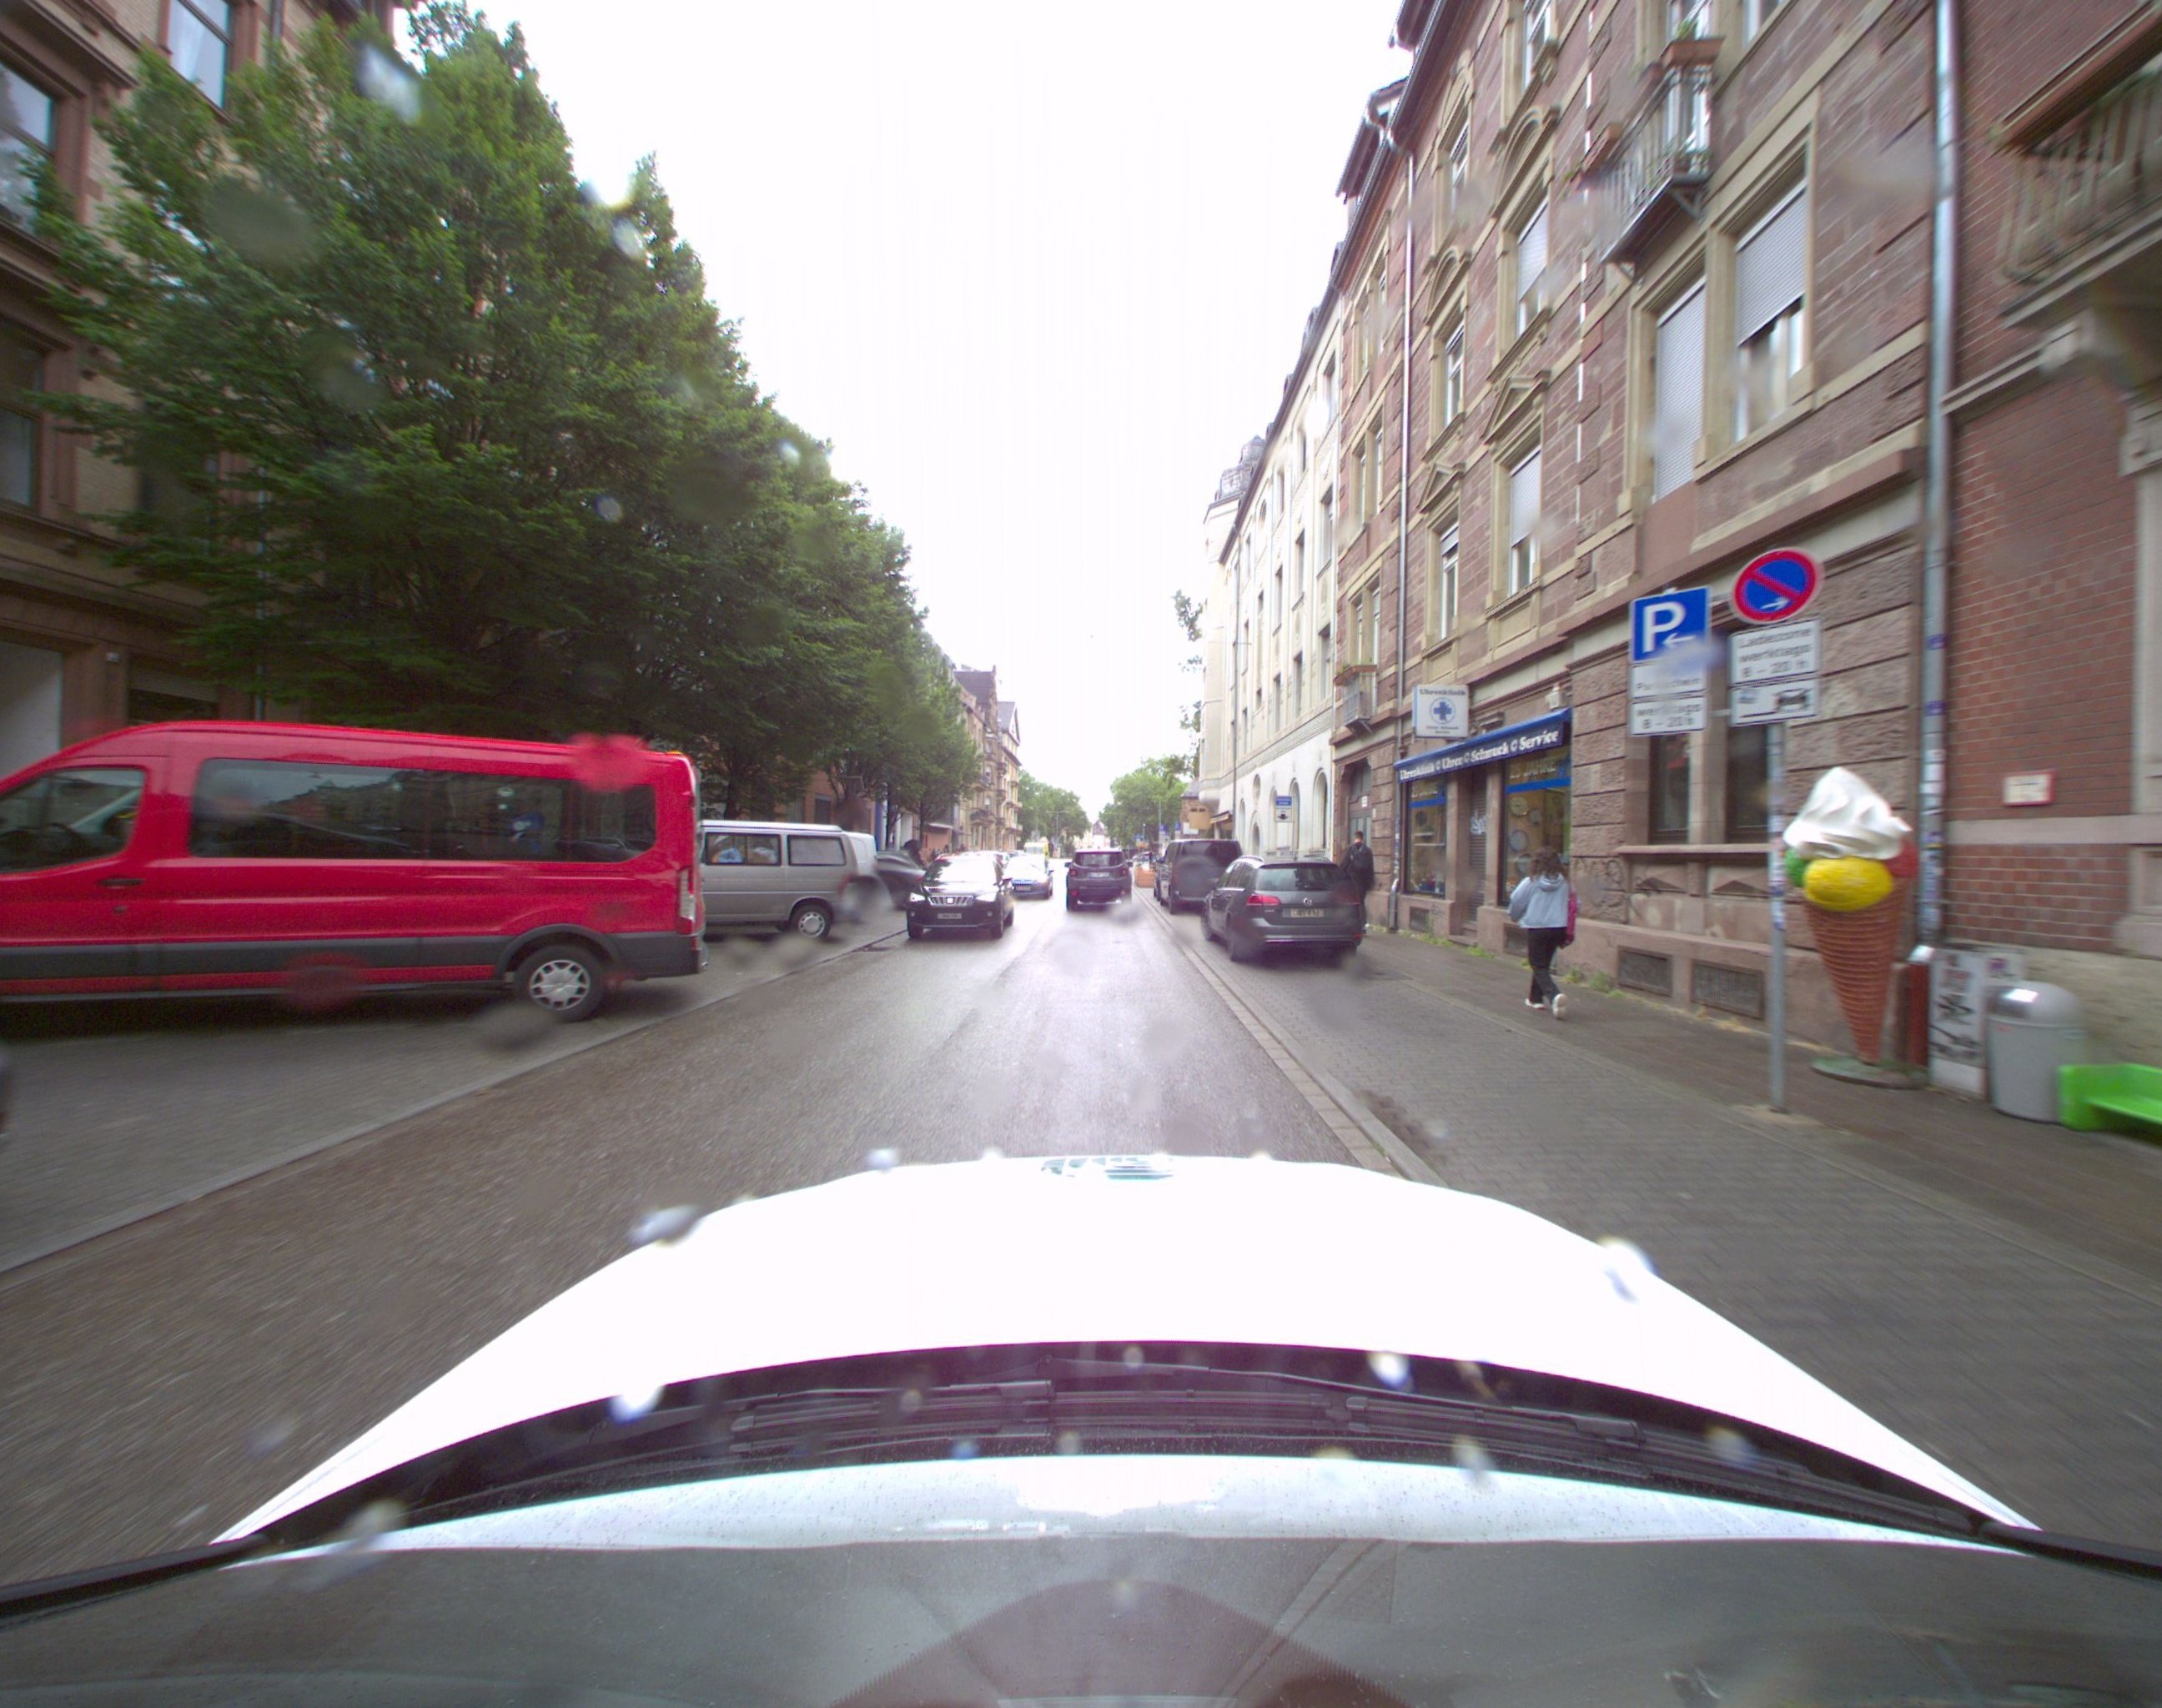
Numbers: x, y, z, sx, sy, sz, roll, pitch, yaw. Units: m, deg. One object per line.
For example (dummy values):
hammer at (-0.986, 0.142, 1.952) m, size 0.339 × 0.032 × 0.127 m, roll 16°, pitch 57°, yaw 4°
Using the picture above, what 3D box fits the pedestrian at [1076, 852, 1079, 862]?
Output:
pedestrian at (-0.526, 0.420, 123.223) m, size 0.466 × 1.585 × 0.752 m, roll 0°, pitch 0°, yaw 0°

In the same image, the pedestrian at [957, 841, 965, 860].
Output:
pedestrian at (-11.229, -0.356, 76.186) m, size 0.663 × 1.757 × 0.791 m, roll 0°, pitch 0°, yaw -22°

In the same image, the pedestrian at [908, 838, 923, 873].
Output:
pedestrian at (-8.198, 0.076, 40.264) m, size 0.609 × 1.707 × 0.433 m, roll 1°, pitch -2°, yaw 2°

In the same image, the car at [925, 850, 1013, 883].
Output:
car at (-5.213, 0.540, 38.011) m, size 3.729 × 1.452 × 1.668 m, roll 0°, pitch 0°, yaw -34°

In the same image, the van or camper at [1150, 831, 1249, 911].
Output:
van or camper at (3.026, 0.389, 21.844) m, size 2.014 × 1.891 × 5.056 m, roll 0°, pitch 0°, yaw 1°

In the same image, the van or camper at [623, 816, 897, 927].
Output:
van or camper at (-6.527, 0.350, 16.853) m, size 4.721 × 1.953 × 2.310 m, roll 2°, pitch 1°, yaw -40°

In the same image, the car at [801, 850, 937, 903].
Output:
car at (-6.183, 0.611, 23.909) m, size 3.499 × 1.435 × 1.632 m, roll 0°, pitch 0°, yaw -41°

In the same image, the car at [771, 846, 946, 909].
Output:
car at (-5.732, 0.622, 21.210) m, size 3.998 × 1.447 × 1.747 m, roll 2°, pitch 0°, yaw -39°

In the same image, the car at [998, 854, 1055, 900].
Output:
car at (-1.838, 0.747, 28.404) m, size 1.664 × 1.465 × 4.003 m, roll 0°, pitch 0°, yaw 0°

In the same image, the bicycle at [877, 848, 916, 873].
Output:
bicycle at (-9.823, 0.334, 43.433) m, size 1.890 × 1.152 × 0.553 m, roll 5°, pitch 0°, yaw -2°

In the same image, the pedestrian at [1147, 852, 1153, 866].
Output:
pedestrian at (8.584, 0.596, 100.759) m, size 0.688 × 1.711 × 0.684 m, roll 0°, pitch 0°, yaw 1°

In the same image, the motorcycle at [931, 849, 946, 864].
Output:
motorcycle at (-11.602, 0.217, 66.432) m, size 0.750 × 1.174 × 2.117 m, roll 3°, pitch 0°, yaw 2°

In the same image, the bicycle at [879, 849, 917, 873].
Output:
bicycle at (-10.260, 0.401, 45.752) m, size 1.890 × 1.152 × 0.553 m, roll 5°, pitch 0°, yaw -2°

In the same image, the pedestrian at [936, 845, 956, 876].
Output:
pedestrian at (-7.710, 0.360, 46.593) m, size 0.820 × 1.752 × 0.759 m, roll 3°, pitch 0°, yaw 8°

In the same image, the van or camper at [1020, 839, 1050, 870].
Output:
van or camper at (-4.158, 0.112, 74.677) m, size 2.114 × 2.531 × 6.875 m, roll -3°, pitch -2°, yaw 1°

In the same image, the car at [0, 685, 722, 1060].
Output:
car at (-6.318, 0.137, 7.264) m, size 5.584 × 2.541 × 2.210 m, roll 1°, pitch 0°, yaw -26°

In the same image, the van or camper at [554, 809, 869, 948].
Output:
van or camper at (-6.008, 0.391, 13.490) m, size 4.463 × 1.975 × 1.764 m, roll 2°, pitch 0°, yaw -32°

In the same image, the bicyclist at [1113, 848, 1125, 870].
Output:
bicyclist at (2.386, 0.314, 51.408) m, size 0.702 × 1.403 × 1.171 m, roll 0°, pitch 0°, yaw 2°

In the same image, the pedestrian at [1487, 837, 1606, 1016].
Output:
pedestrian at (4.378, 0.650, 7.715) m, size 0.676 × 1.613 × 0.810 m, roll 0°, pitch 0°, yaw 2°

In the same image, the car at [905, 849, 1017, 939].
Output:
car at (-2.247, 0.700, 16.210) m, size 1.665 × 1.559 × 4.002 m, roll 1°, pitch 0°, yaw -1°

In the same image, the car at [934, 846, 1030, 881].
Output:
car at (-5.318, 0.507, 43.777) m, size 4.539 × 1.539 × 2.314 m, roll 5°, pitch -3°, yaw -32°

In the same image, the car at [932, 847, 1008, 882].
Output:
car at (-5.512, 0.484, 40.568) m, size 3.398 × 1.654 × 1.617 m, roll 0°, pitch 0°, yaw -32°

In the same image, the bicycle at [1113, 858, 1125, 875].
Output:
bicycle at (2.383, 0.760, 51.406) m, size 0.702 × 1.054 × 1.813 m, roll 0°, pitch 0°, yaw 2°

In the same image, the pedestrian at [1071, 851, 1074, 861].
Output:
pedestrian at (-1.244, 0.304, 122.134) m, size 0.466 × 1.585 × 0.752 m, roll 0°, pitch 0°, yaw 0°

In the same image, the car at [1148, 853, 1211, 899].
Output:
car at (3.219, 0.693, 27.180) m, size 1.704 × 1.400 × 3.705 m, roll 0°, pitch 0°, yaw 1°

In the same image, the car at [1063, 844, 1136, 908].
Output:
car at (0.507, 0.584, 23.548) m, size 1.892 × 1.670 × 4.505 m, roll 0°, pitch 0°, yaw 0°

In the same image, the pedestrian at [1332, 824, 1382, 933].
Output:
pedestrian at (5.040, 0.451, 14.903) m, size 0.676 × 1.934 × 0.810 m, roll 1°, pitch -2°, yaw 2°

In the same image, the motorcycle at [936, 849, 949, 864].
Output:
motorcycle at (-11.662, 0.187, 68.586) m, size 0.751 × 1.174 × 2.114 m, roll 3°, pitch 0°, yaw -2°

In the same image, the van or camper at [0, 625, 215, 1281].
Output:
van or camper at (-6.201, 0.316, 1.982) m, size 5.033 × 2.349 × 2.326 m, roll 1°, pitch 0°, yaw -25°

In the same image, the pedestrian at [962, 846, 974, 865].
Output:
pedestrian at (-9.251, 0.121, 66.618) m, size 0.705 × 1.551 × 0.609 m, roll 3°, pitch 0°, yaw 8°

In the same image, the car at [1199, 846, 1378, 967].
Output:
car at (2.945, 0.675, 12.426) m, size 1.834 × 1.545 × 4.005 m, roll 0°, pitch 0°, yaw 2°
